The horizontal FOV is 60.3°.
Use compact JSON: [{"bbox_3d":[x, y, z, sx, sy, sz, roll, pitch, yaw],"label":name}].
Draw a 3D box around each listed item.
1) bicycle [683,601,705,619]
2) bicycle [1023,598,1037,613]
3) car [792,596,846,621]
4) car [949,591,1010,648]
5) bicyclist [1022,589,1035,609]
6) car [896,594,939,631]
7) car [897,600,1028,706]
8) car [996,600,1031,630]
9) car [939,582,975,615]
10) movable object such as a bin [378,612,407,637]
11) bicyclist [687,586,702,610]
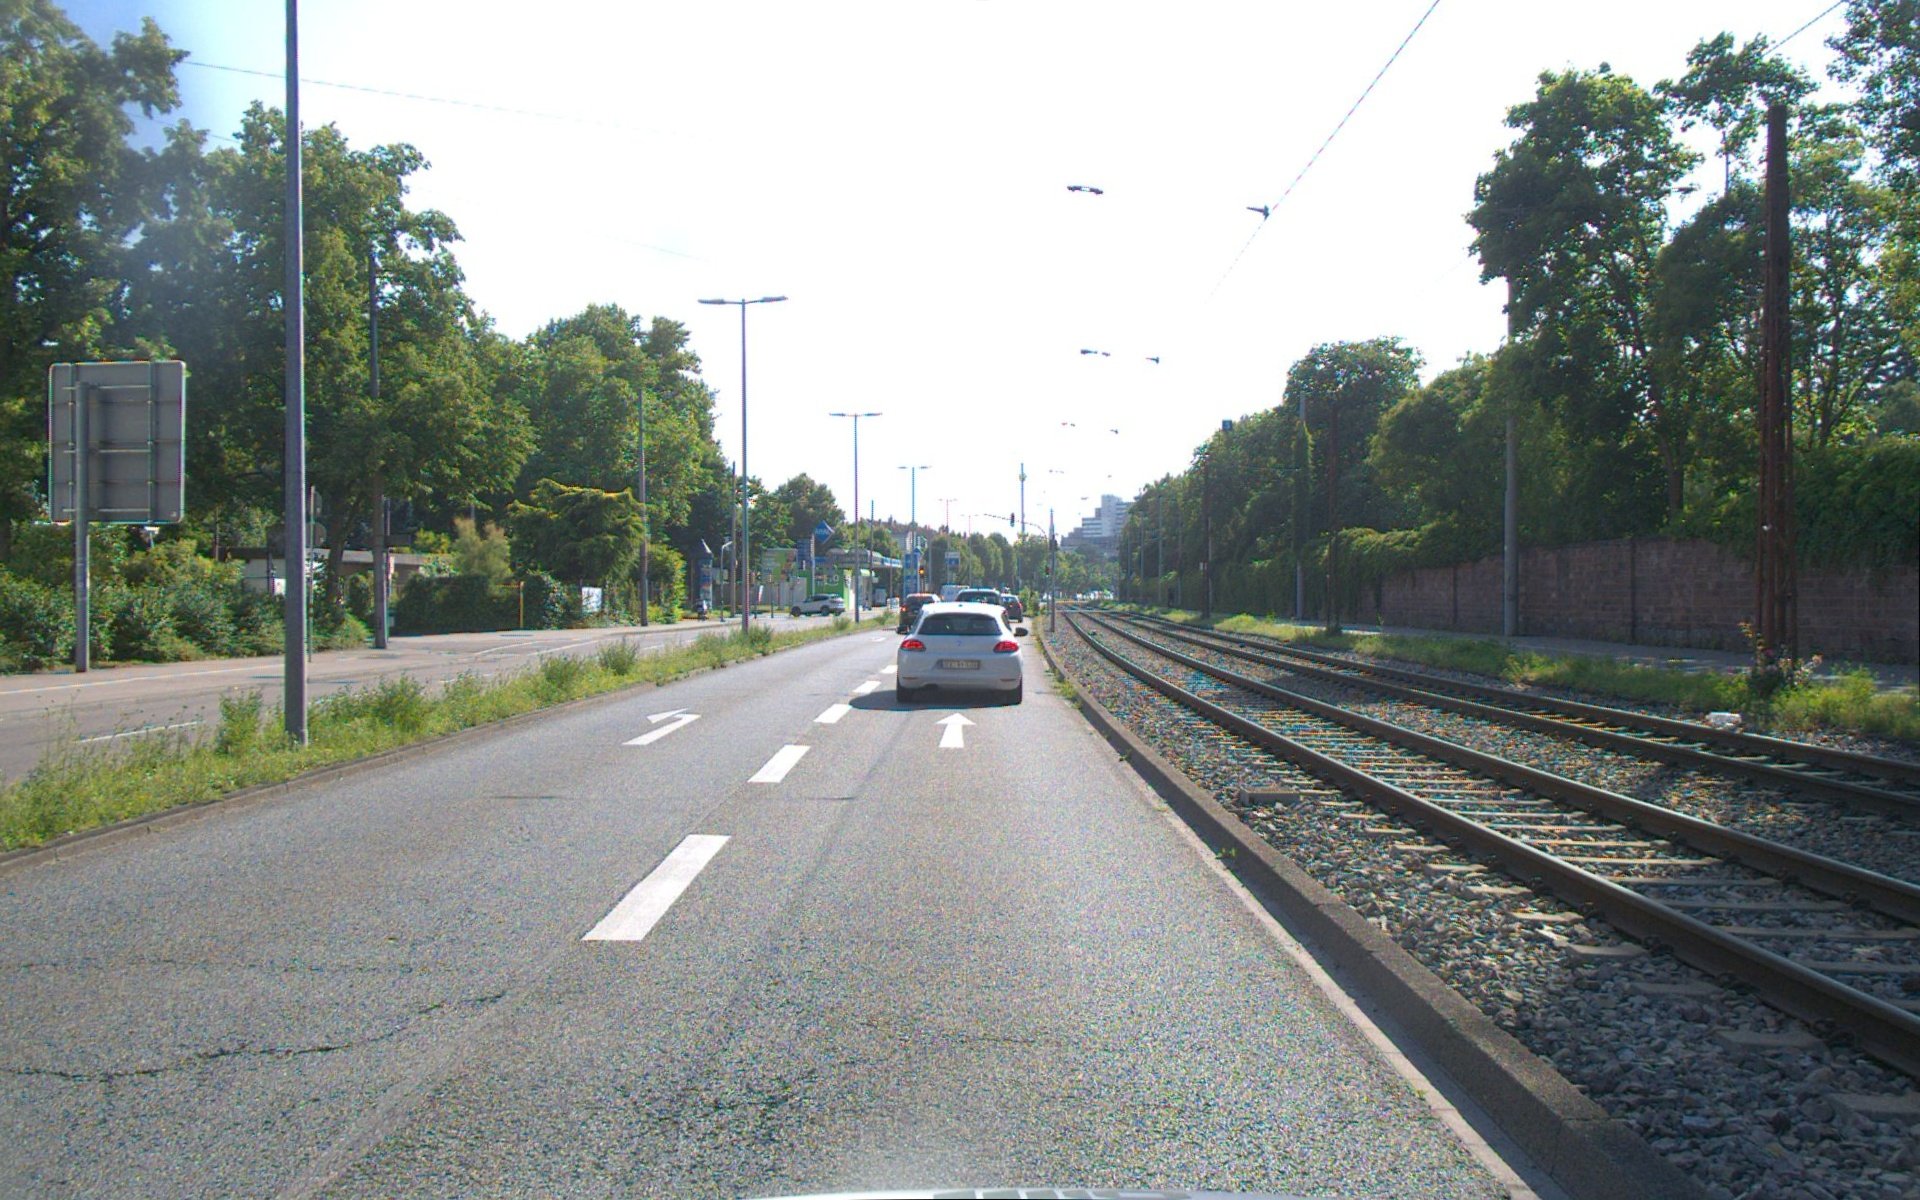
[{"bbox_3d":[-16.261,0.594,101.148,0.647,1.068,2.582,0,0,6],"label":"bicycle"},{"bbox_3d":[5.523,0.426,130.631,0.629,1.174,1.938,-1,0,17],"label":"bicycle"},{"bbox_3d":[-10.569,0.611,123.952,3.870,1.764,1.650,2,0,34],"label":"car"},{"bbox_3d":[0.557,0.561,49.931,1.689,1.620,3.600,1,0,-1],"label":"car"},{"bbox_3d":[5.418,-0.077,130.583,0.630,1.440,1.013,-6,-2,17],"label":"bicyclist"},{"bbox_3d":[-1.797,0.507,70.448,1.724,1.511,4.644,1,0,-1],"label":"car"},{"bbox_3d":[0.040,0.713,24.199,1.744,1.380,3.601,1,0,0],"label":"car"},{"bbox_3d":[2.852,0.793,88.741,1.713,1.511,3.600,1,0,-1],"label":"car"},{"bbox_3d":[-0.188,-0.087,103.494,1.783,1.997,4.396,0,0,-6],"label":"car"},{"bbox_3d":[-22.101,0.951,64.446,0.799,0.947,0.853,0,0,2],"label":"movable object such as a bin"},{"bbox_3d":[-16.260,-0.115,101.223,0.647,1.478,1.051,0,0,6],"label":"bicyclist"}]
